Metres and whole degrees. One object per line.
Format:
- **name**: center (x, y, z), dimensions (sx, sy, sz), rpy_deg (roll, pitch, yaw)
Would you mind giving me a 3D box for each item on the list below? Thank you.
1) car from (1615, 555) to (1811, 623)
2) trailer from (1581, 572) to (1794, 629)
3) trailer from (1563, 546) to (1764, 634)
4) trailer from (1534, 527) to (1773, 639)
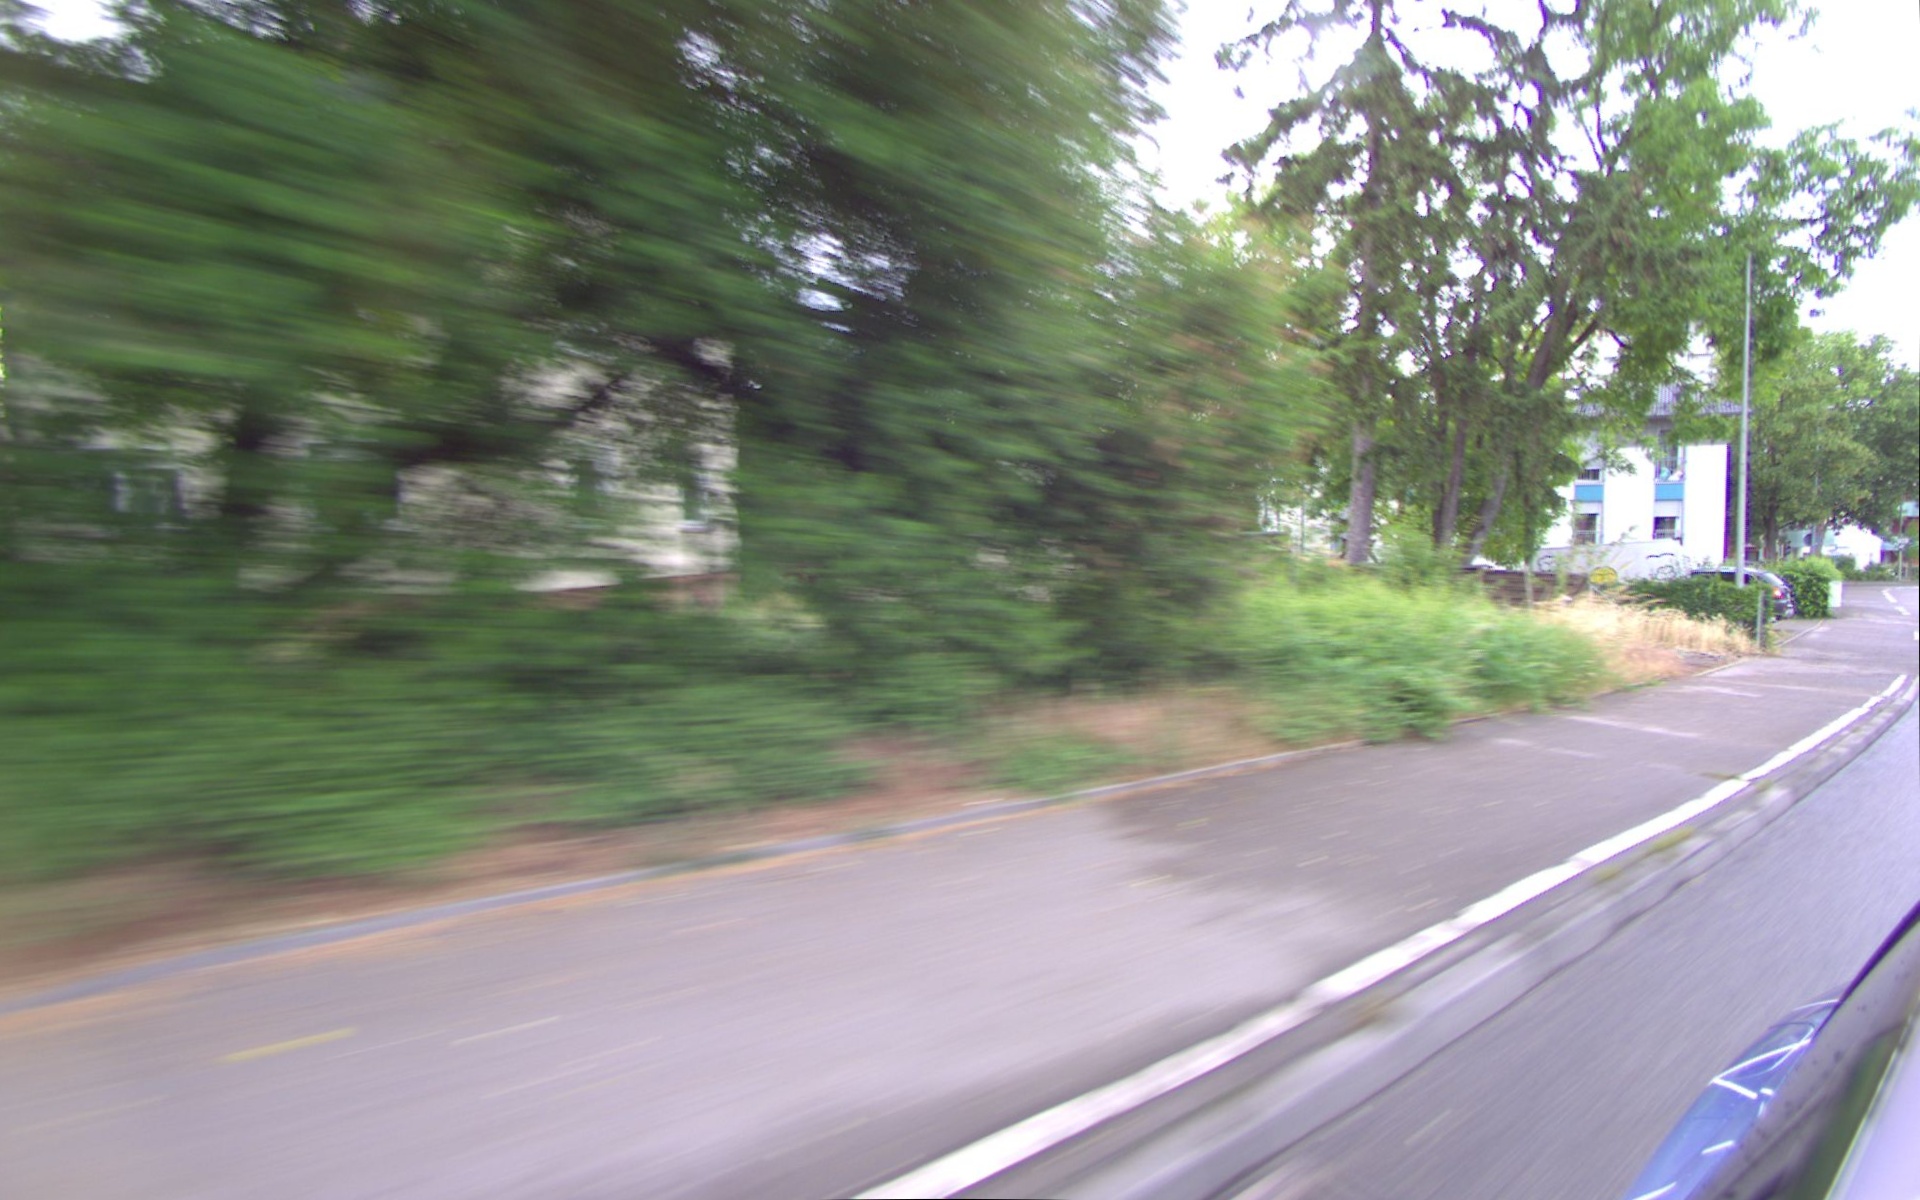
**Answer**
- **car**: center (21.483, -0.361, 28.976), dimensions (1.951, 1.771, 4.217), rpy_deg (0, 3, -44)
- **trailer**: center (19.248, -0.035, 26.921), dimensions (4.399, 1.304, 1.547), rpy_deg (3, 3, 44)
- **trailer**: center (17.692, -0.291, 25.560), dimensions (3.953, 2.047, 1.660), rpy_deg (2, 2, 44)
- **trailer**: center (16.408, -0.461, 24.124), dimensions (4.524, 2.430, 1.923), rpy_deg (2, 2, 38)
